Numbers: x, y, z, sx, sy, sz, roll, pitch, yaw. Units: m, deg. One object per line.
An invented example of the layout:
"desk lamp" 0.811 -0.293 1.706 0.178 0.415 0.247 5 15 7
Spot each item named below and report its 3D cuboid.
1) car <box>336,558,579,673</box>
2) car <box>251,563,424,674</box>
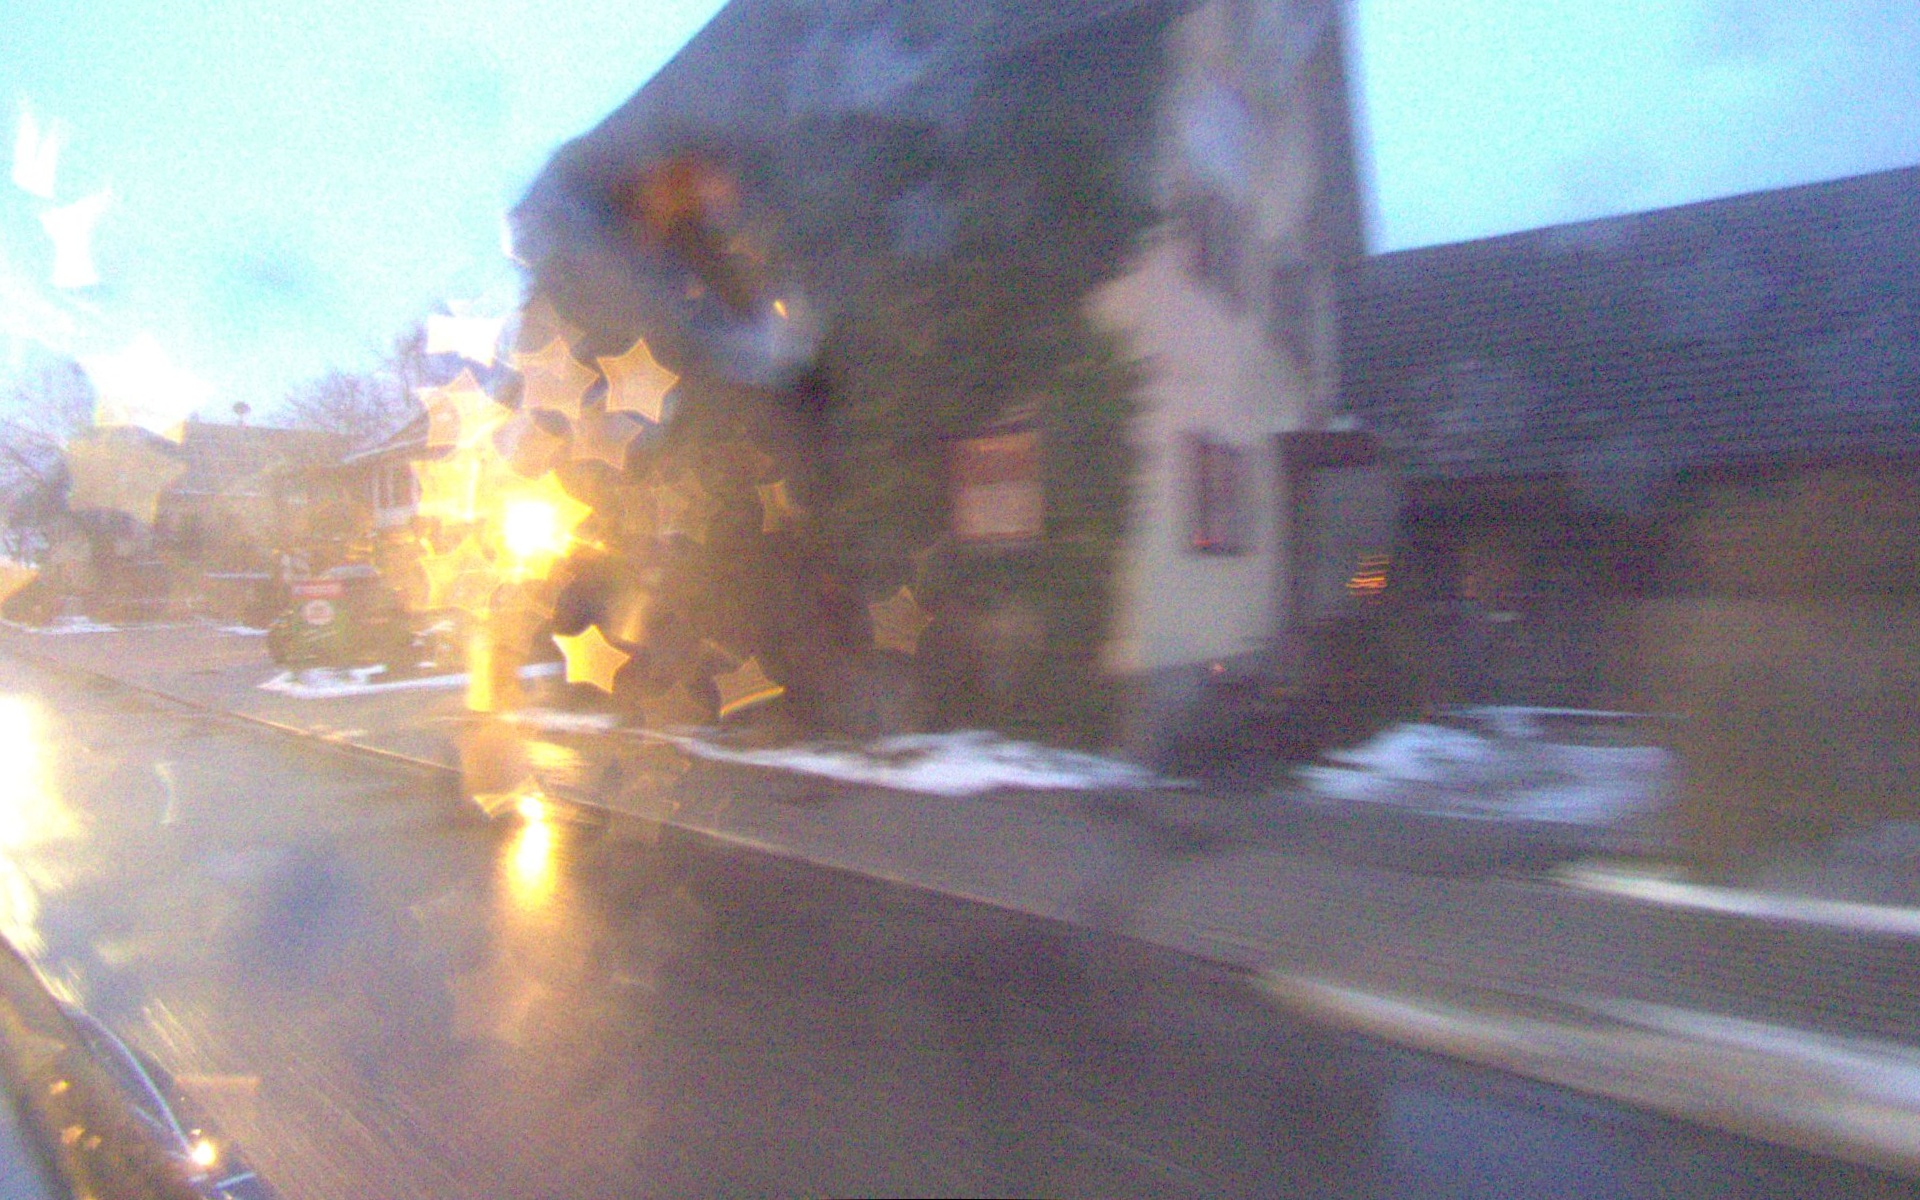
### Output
"car" -9.861 0.251 20.073 1.757 2.029 3.945 0 1 41
"car" -13.458 0.340 21.792 4.081 2.052 1.973 0 5 42
